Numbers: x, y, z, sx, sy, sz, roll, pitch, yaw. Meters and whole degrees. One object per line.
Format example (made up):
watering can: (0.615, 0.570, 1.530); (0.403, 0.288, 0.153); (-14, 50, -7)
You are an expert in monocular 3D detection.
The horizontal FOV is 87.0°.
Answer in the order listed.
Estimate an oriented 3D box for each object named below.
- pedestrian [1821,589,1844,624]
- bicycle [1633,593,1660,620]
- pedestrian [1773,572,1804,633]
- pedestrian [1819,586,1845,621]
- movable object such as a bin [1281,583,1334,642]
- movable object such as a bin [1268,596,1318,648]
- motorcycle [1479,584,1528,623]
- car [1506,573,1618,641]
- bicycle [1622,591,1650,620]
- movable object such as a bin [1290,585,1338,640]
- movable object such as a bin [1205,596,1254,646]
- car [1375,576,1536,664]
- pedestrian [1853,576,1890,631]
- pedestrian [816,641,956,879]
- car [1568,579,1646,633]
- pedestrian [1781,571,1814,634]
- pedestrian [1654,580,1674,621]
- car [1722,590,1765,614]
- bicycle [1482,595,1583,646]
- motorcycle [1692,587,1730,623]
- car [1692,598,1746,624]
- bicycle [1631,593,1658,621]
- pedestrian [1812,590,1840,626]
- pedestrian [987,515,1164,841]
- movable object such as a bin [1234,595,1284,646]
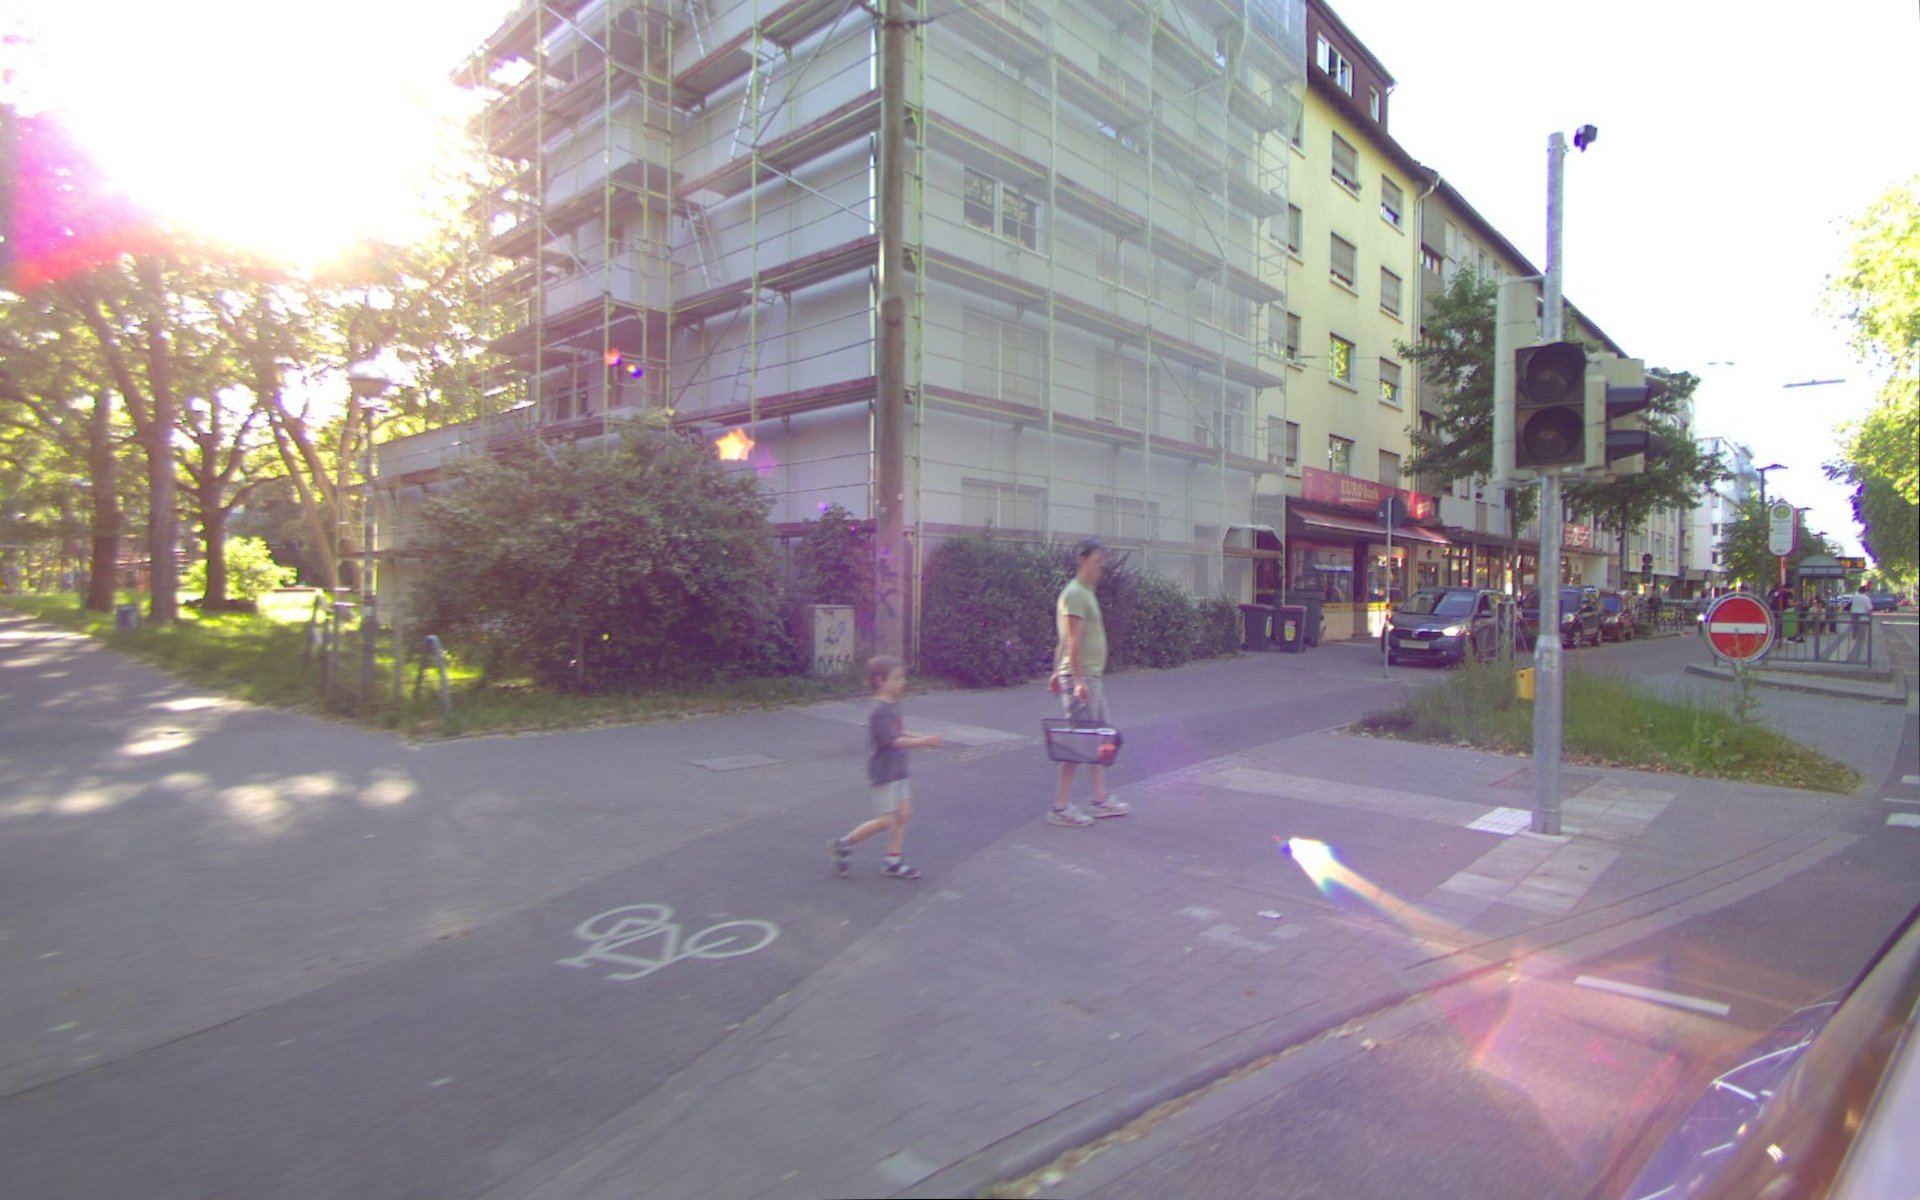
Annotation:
pedestrian: (33.143, 0.242, 38.445); (0.582, 1.322, 0.521); (-1, -1, 33)
bicycle: (33.201, 0.318, 48.929); (0.770, 1.194, 2.744); (7, 3, 38)
pedestrian: (24.501, 0.070, 29.942); (0.690, 1.792, 0.494); (0, 0, -32)
pedestrian: (40.581, 0.145, 47.102); (0.837, 1.596, 0.650); (0, 0, -29)
movable object such as a bin: (8.649, 0.286, 25.211); (0.998, 1.414, 0.812); (2, 2, 41)
movable object such as a bin: (7.641, 0.498, 23.228); (0.880, 1.124, 0.687); (2, 2, 41)
motorcycle: (20.318, 0.137, 37.784); (0.952, 1.332, 2.611); (7, 4, 41)
car: (18.394, 0.168, 30.861); (1.994, 1.919, 4.126); (2, 1, 45)
bicycle: (30.859, 0.266, 46.179); (0.770, 1.194, 2.744); (7, 3, 38)
movable object such as a bin: (9.141, 0.295, 26.151); (0.923, 1.367, 0.812); (2, 2, 41)
movable object such as a bin: (6.339, 0.484, 23.778); (0.880, 1.124, 0.687); (2, 2, 41)
car: (10.610, 0.380, 21.509); (1.763, 1.642, 4.370); (3, 2, 44)
pedestrian: (29.034, 0.112, 32.226); (0.834, 1.734, 0.630); (-1, -1, 45)
pedestrian: (-0.367, 0.797, 5.290); (0.664, 1.133, 0.659); (-1, 0, 1)
car: (22.793, 0.184, 35.606); (1.687, 1.777, 4.111); (-1, 0, 41)
pedestrian: (24.187, 0.076, 29.236); (0.686, 1.777, 0.572); (-1, -1, 37)
pedestrian: (31.936, 0.031, 45.898); (0.677, 1.827, 0.762); (-1, 0, 39)
car: (52.417, 0.125, 67.667); (1.893, 1.505, 3.938); (-1, 0, 43)
bicycle: (15.556, 0.532, 27.548); (2.204, 1.224, 1.013); (3, 2, 44)
motorcycle: (31.456, 0.201, 42.375); (1.051, 1.473, 2.174); (-1, 0, 43)
car: (45.422, 0.647, 60.527); (1.954, 1.502, 4.585); (-2, -1, 45)
bicycle: (31.976, 0.318, 47.250); (0.770, 1.194, 2.744); (7, 3, 38)
pedestrian: (32.734, 0.302, 38.239); (0.716, 1.343, 0.487); (-1, 0, 33)
pedestrian: (0.773, 0.457, 6.582); (0.861, 1.909, 0.989); (-1, 0, 25)
movable object such as a bin: (6.886, 0.456, 23.282); (0.880, 1.124, 0.687); (2, 2, 41)
